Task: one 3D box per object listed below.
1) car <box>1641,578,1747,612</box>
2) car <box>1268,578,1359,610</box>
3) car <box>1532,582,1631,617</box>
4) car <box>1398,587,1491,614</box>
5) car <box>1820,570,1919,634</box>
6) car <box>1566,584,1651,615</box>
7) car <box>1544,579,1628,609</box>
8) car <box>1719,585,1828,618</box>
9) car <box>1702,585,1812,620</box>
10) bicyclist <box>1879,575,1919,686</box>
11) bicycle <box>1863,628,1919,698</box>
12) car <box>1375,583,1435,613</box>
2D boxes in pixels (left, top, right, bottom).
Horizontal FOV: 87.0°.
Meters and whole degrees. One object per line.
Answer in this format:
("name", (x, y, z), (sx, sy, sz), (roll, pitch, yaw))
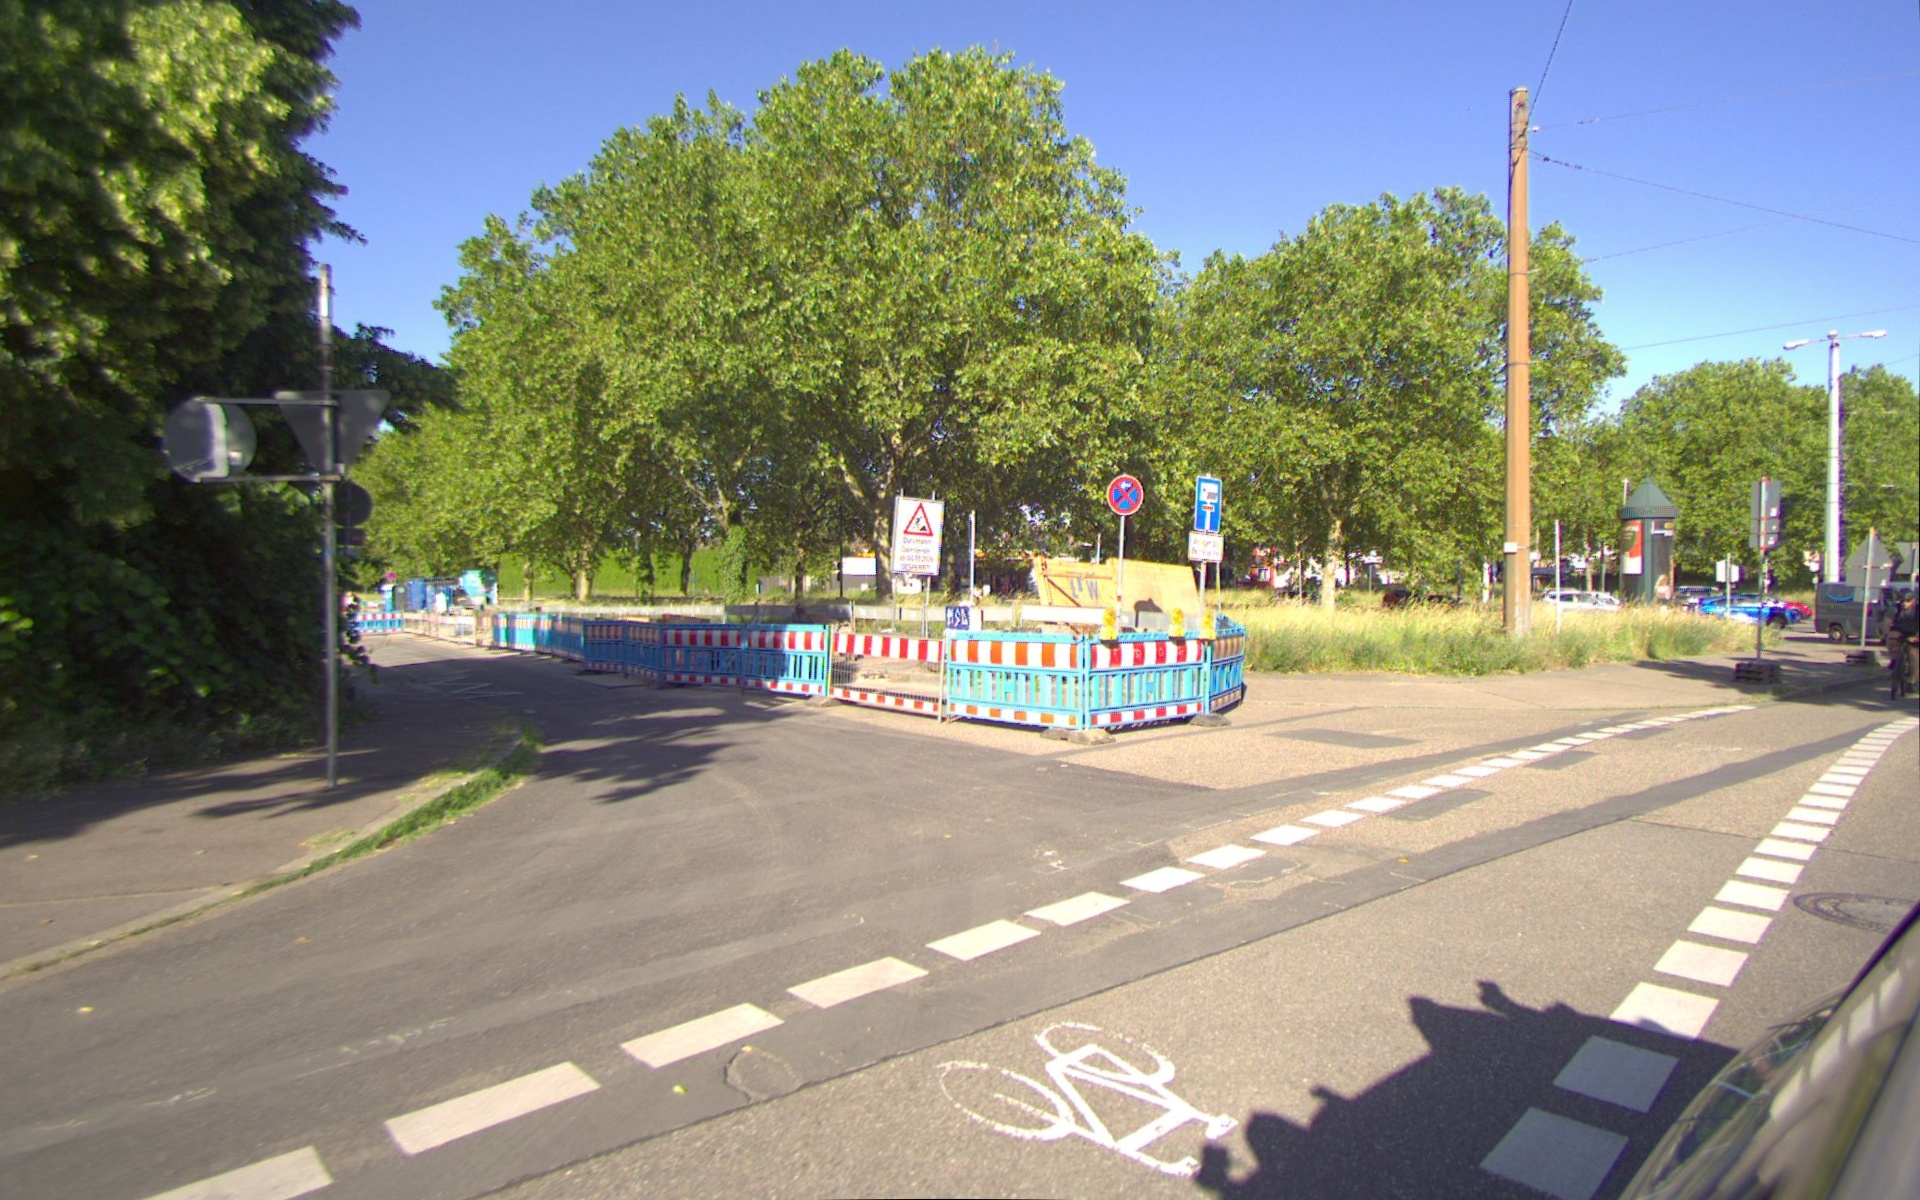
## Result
("car", (40.002, -0.297, 55.306), (4.454, 1.732, 1.902), (1, 2, 29))
("car", (20.665, -0.339, 59.213), (4.733, 1.703, 1.890), (-1, 1, 29))
("car", (31.743, -0.037, 51.836), (4.136, 1.699, 1.916), (1, 1, 28))
("car", (26.565, 0.024, 55.556), (4.527, 1.425, 1.916), (0, 0, 28))
("car", (32.510, 0.026, 34.456), (2.091, 2.096, 5.120), (-1, 2, 1))
("car", (34.972, -0.067, 54.677), (3.830, 1.620, 1.694), (1, 1, 32))
("car", (35.490, -0.377, 57.493), (3.964, 1.638, 1.980), (1, 1, 29))
("car", (40.885, 0.073, 50.988), (4.058, 1.621, 1.795), (0, -1, 32))
("car", (37.813, 0.094, 48.146), (3.821, 1.620, 1.697), (0, 0, 27))
("bicyclist", (15.170, 0.468, 16.096), (0.916, 1.700, 0.617), (-1, 2, -35))
("bicycle", (14.749, 0.952, 15.764), (2.049, 0.934, 0.526), (-2, 2, -34))
("car", (26.107, -0.137, 59.387), (3.179, 1.635, 1.360), (1, 5, 28))
